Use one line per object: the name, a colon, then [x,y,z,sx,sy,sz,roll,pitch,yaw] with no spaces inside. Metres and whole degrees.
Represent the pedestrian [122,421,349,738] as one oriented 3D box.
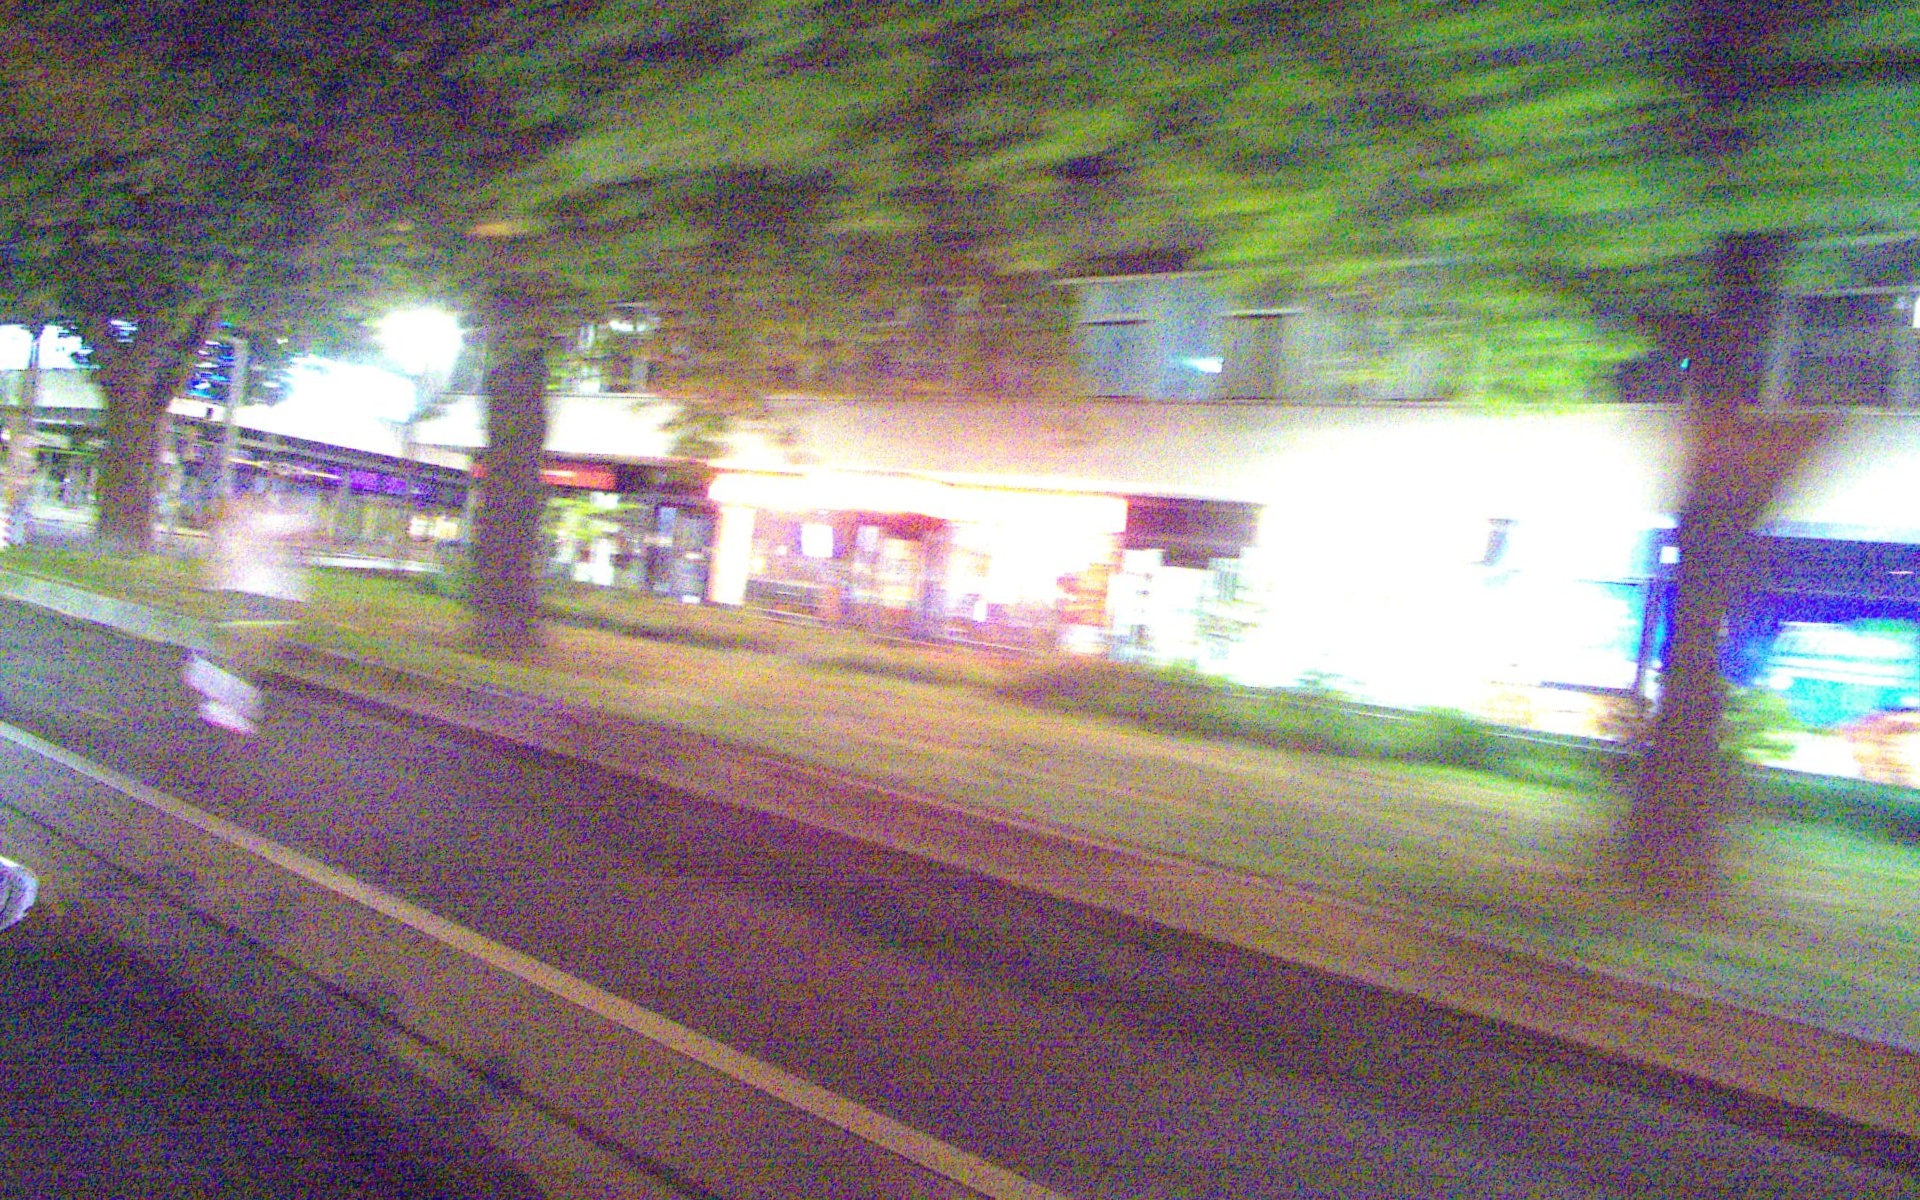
pedestrian: [-4.654,-0.143,6.458,1.064,1.842,0.703,8,2,31]
